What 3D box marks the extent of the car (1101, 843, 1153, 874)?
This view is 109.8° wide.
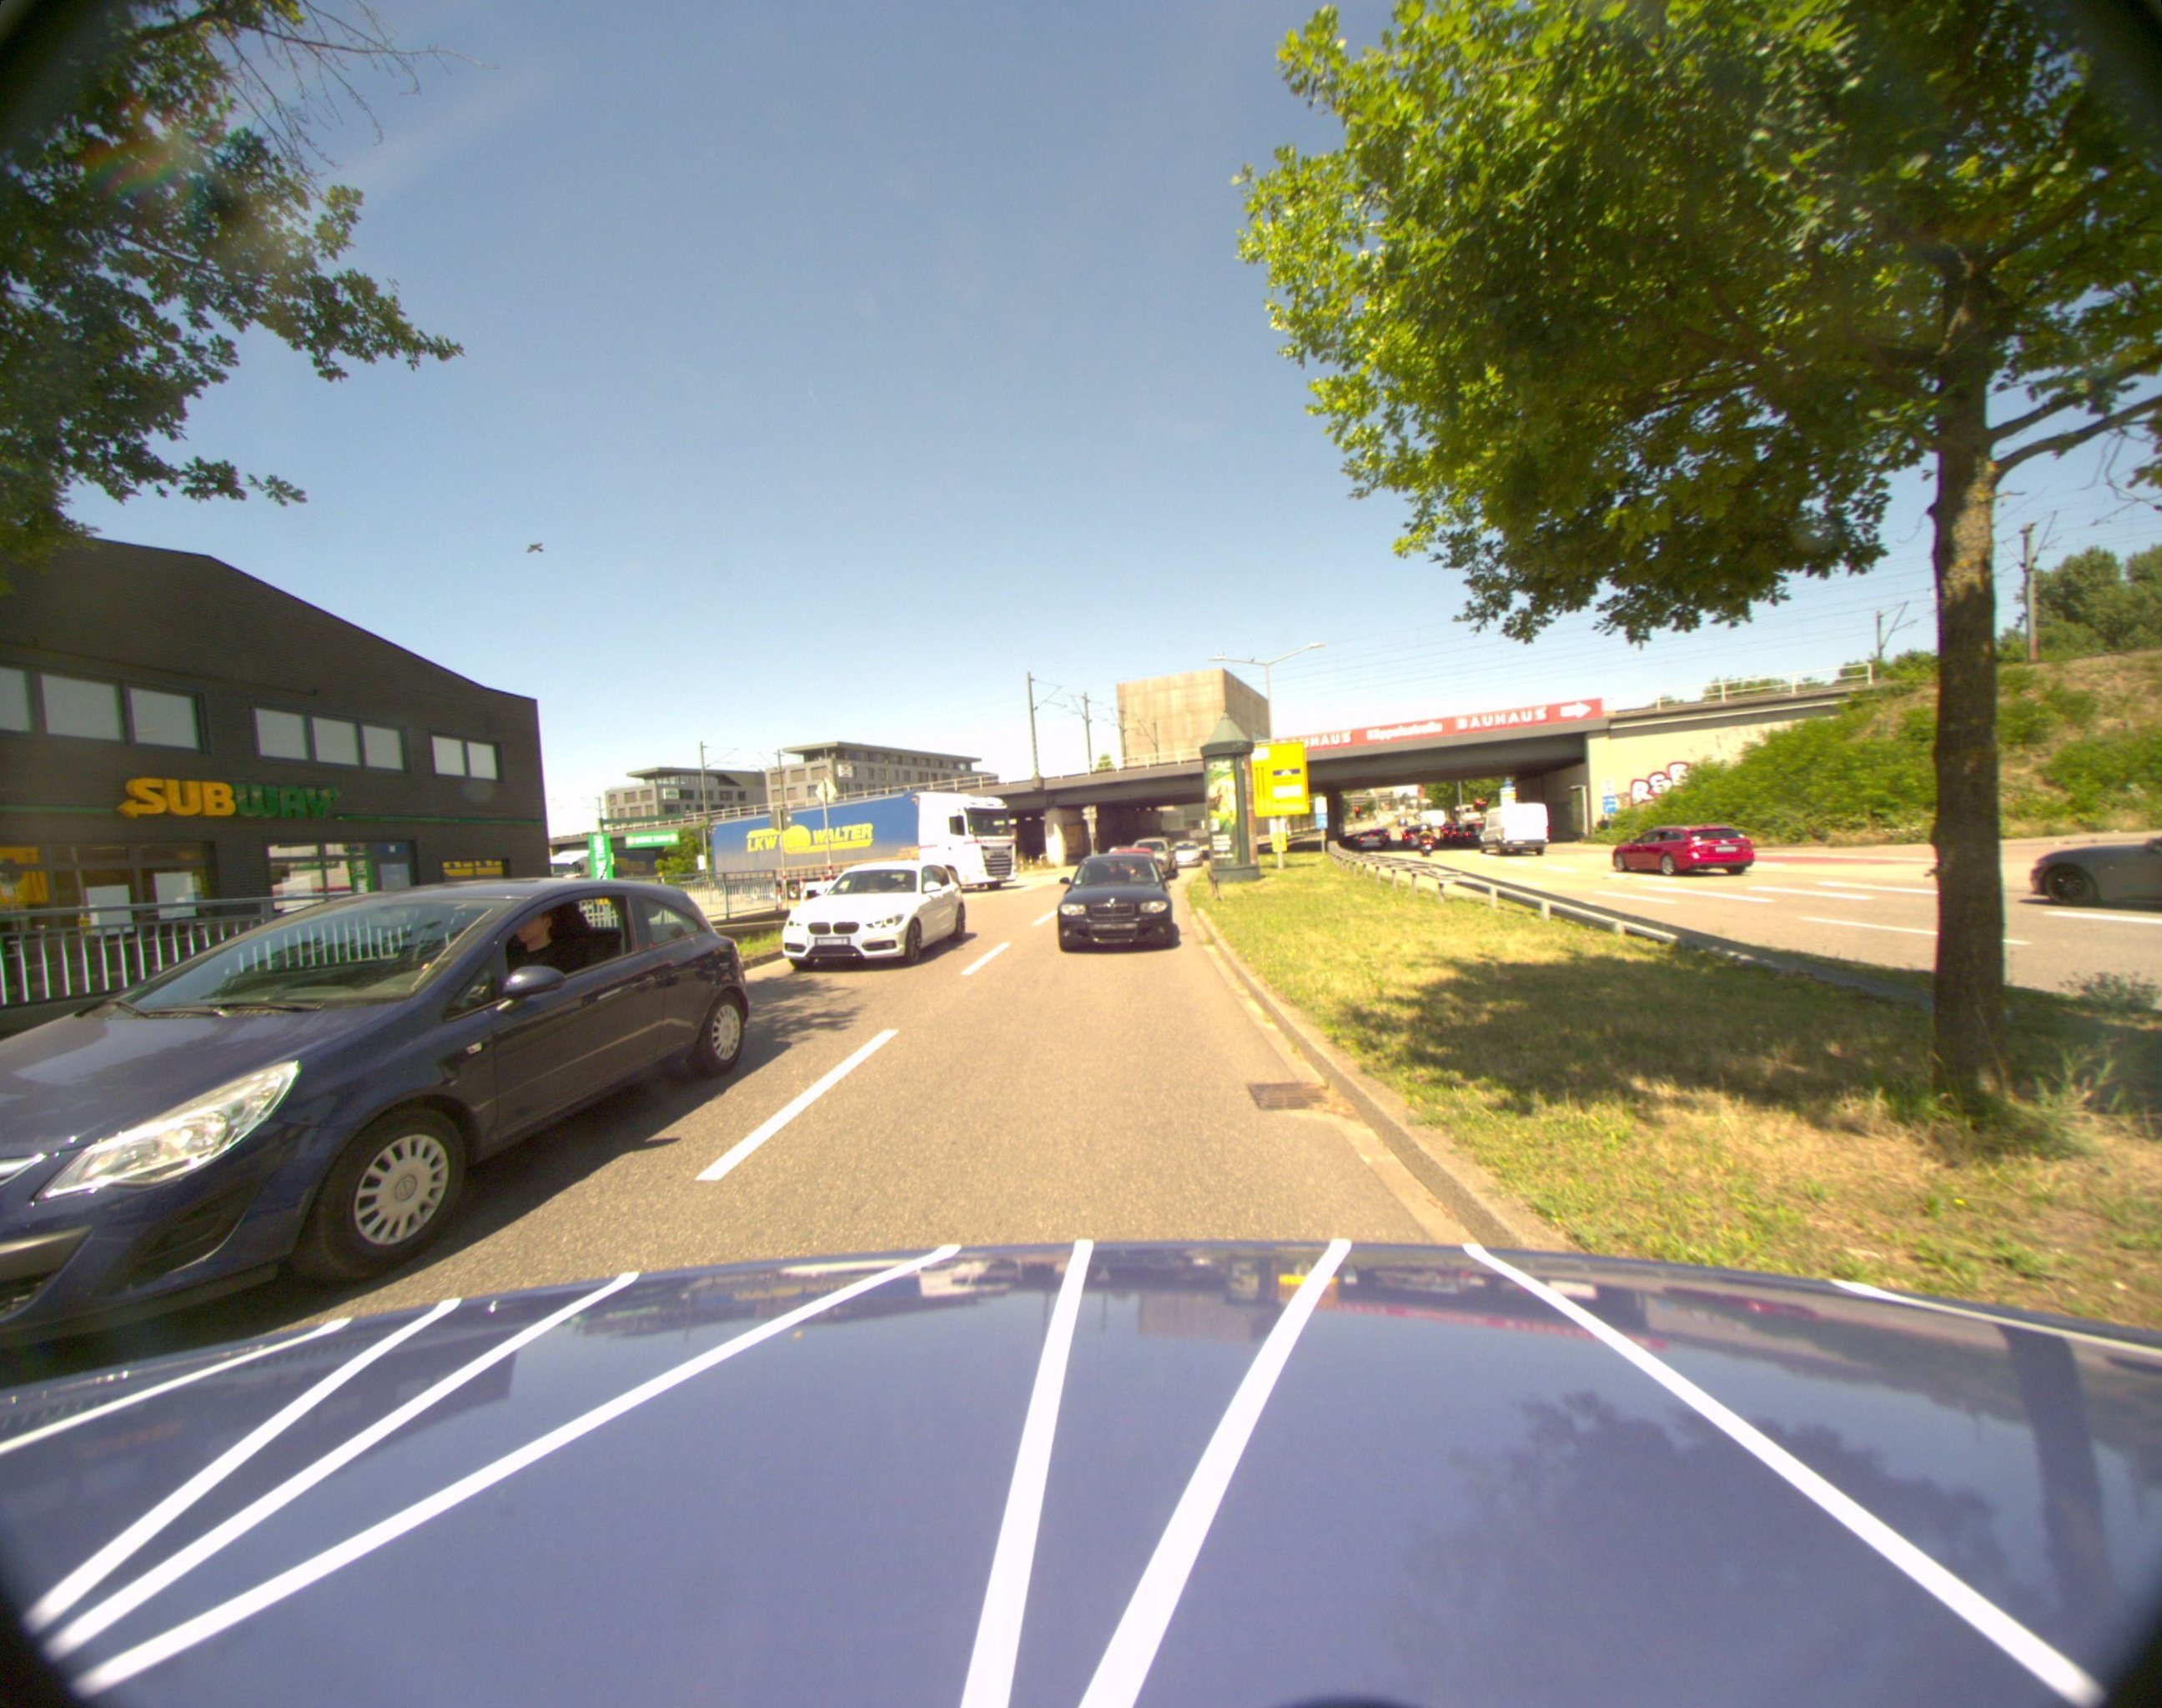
[{"bbox_3d":[2.534,0.219,41.330,1.714,1.434,4.004,-2,1,20],"label":"car"}]

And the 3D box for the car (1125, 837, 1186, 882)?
[{"bbox_3d":[3.268,0.200,32.670,1.843,1.686,3.703,-2,1,17],"label":"car"}]

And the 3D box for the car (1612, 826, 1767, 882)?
[{"bbox_3d":[17.900,-0.072,22.663,1.833,1.429,4.529,-3,1,13],"label":"car"}]

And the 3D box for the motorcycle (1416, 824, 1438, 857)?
[{"bbox_3d":[18.597,-0.733,40.869,0.598,1.669,2.427,-2,2,15],"label":"motorcycle"}]

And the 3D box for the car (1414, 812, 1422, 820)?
[{"bbox_3d":[93.340,-10.506,210.551,1.836,2.002,4.005,-2,2,23],"label":"car"}]

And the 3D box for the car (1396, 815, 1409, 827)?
[{"bbox_3d":[57.869,-5.977,136.545,1.995,2.002,4.005,-2,2,24],"label":"car"}]

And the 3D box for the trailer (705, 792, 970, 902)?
[{"bbox_3d":[-11.417,-0.089,34.339,13.870,4.067,2.504,-3,1,30],"label":"trailer"}]

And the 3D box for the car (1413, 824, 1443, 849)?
[{"bbox_3d":[23.603,-1.197,51.636,1.635,1.558,4.079,-1,1,27],"label":"car"}]

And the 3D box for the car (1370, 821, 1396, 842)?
[{"bbox_3d":[29.007,-2.161,72.910,1.904,1.849,4.006,-2,2,26],"label":"car"}]

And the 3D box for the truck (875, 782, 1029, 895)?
[{"bbox_3d":[-5.253,-0.531,30.526,5.747,4.078,2.580,-3,1,37],"label":"truck"}]

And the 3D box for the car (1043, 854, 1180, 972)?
[{"bbox_3d":[0.665,0.809,12.202,1.680,1.409,4.058,-3,1,9],"label":"car"}]

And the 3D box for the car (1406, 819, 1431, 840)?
[{"bbox_3d":[31.624,-2.286,71.102,1.904,1.849,4.006,-2,2,26],"label":"car"}]

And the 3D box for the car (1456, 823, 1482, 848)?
[{"bbox_3d":[26.546,-1.292,51.995,1.516,1.533,3.685,-2,2,27],"label":"car"}]

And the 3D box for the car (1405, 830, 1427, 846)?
[{"bbox_3d":[26.379,-1.270,59.757,1.268,1.178,2.782,-2,2,30],"label":"car"}]

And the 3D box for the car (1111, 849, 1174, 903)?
[{"bbox_3d":[1.757,0.592,22.664,1.646,1.391,4.052,-1,1,2],"label":"car"}]

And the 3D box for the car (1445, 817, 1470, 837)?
[{"bbox_3d":[31.432,-2.273,63.419,1.571,1.494,3.412,-2,2,30],"label":"car"}]

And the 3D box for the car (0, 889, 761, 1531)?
[{"bbox_3d":[-3.421,1.043,3.920,1.650,1.436,3.891,-3,0,3],"label":"car"}]

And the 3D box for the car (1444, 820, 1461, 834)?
[{"bbox_3d":[34.119,-2.483,69.695,1.183,1.241,2.696,-2,2,30],"label":"car"}]

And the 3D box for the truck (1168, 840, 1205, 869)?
[{"bbox_3d":[6.134,-0.010,44.004,1.729,1.493,4.003,-3,1,13],"label":"truck"}]

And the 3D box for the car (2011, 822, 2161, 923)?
[{"bbox_3d":[15.898,0.265,10.096,1.813,1.326,4.570,-3,1,7],"label":"car"}]

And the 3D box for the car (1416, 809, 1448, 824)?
[{"bbox_3d":[52.369,-5.563,113.531,1.998,2.091,6.383,-3,1,3],"label":"car"}]

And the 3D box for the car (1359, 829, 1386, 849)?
[{"bbox_3d":[21.231,-1.101,55.202,1.635,1.395,4.227,-1,2,23],"label":"car"}]

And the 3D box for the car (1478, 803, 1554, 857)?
[{"bbox_3d":[22.302,-1.147,39.241,2.097,2.485,5.817,-2,0,17],"label":"car"}]

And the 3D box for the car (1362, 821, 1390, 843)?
[{"bbox_3d":[26.359,-1.977,67.826,1.904,1.849,4.006,-2,2,26],"label":"car"}]

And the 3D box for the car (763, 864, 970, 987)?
[{"bbox_3d":[-3.061,0.959,11.793,1.762,1.435,4.053,-1,1,4],"label":"car"}]

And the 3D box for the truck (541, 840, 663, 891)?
[{"bbox_3d":[-44.556,0.851,71.794,2.753,4.080,17.424,-3,1,-9],"label":"truck"}]

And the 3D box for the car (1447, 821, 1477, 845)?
[{"bbox_3d":[29.197,-1.643,58.239,1.773,1.658,4.021,-3,0,24],"label":"car"}]

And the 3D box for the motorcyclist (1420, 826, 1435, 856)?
[{"bbox_3d":[18.613,-0.701,40.835,0.588,1.617,0.563,-2,2,16],"label":"motorcyclist"}]
